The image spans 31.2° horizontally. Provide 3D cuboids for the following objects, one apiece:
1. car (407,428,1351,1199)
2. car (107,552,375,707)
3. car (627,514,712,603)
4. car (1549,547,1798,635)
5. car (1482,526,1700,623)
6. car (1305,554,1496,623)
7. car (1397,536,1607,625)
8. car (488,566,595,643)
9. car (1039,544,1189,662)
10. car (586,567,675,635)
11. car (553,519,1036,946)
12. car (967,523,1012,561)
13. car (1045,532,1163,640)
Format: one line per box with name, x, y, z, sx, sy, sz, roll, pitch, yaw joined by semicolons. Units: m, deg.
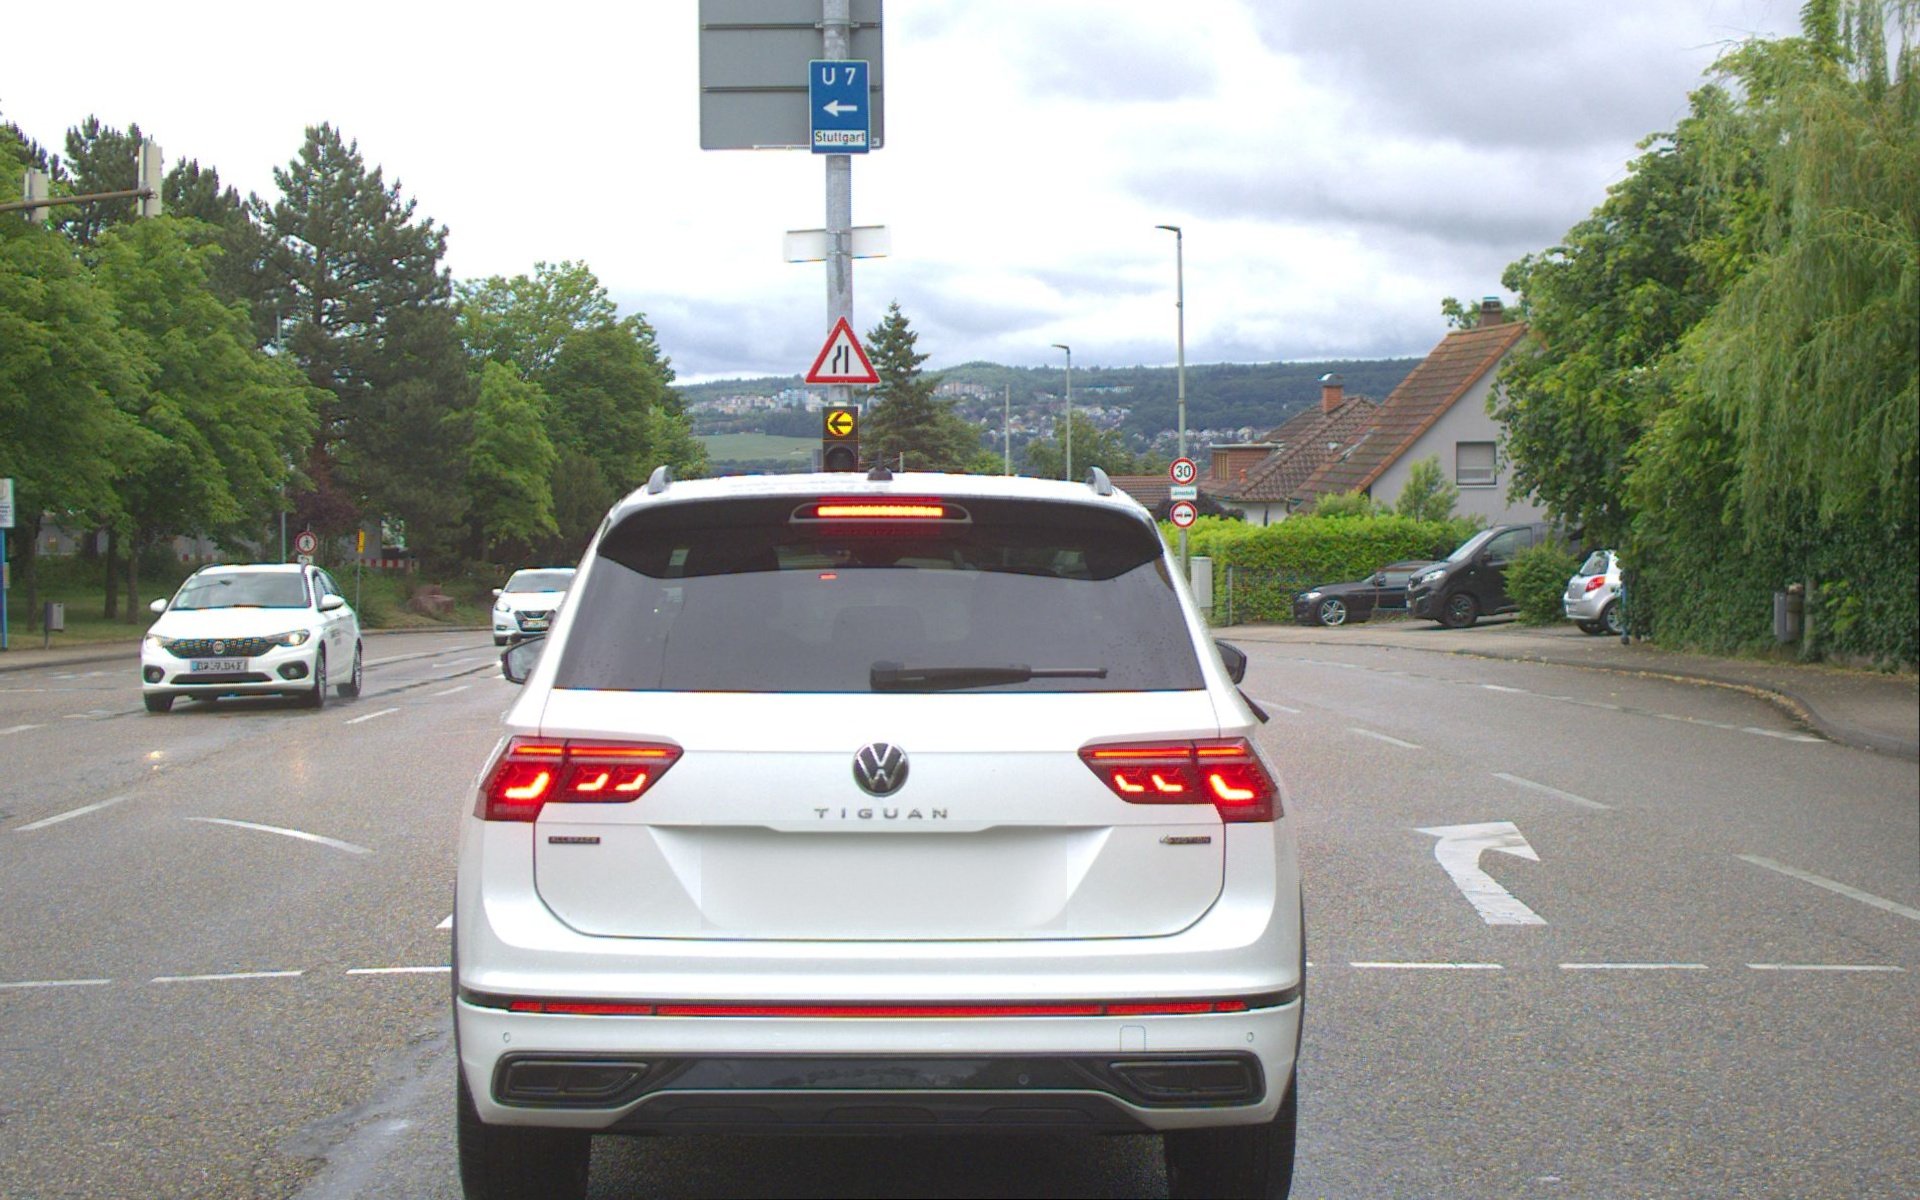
car;-0.207;0.500;8.708;1.763;1.690;4.273;2;1;-1
car;-7.473;0.260;36.127;1.967;1.449;4.309;-1;1;-1
car;-8.653;-1.269;102.827;2.297;2.519;5.774;-2;1;-3
car;11.973;-0.149;57.831;3.713;1.390;1.729;-1;0;-7
car;11.576;-0.487;63.190;3.627;1.740;1.708;0;2;-4
car;8.999;-0.229;70.398;3.687;1.365;1.519;0;-1;-2
car;10.325;-0.390;65.621;3.627;1.620;1.792;0;2;-4
car;-8.073;0.068;66.535;1.746;1.392;3.802;-1;1;-2
car;1.984;0.012;45.208;1.680;1.455;3.802;1;1;-2
car;-7.813;-0.010;81.821;1.775;1.497;4.472;-1;1;-1
car;-0.624;0.459;14.805;1.798;1.584;3.926;0;1;0
car;1.260;-2.477;147.075;1.850;1.569;4.000;-1;1;0
car;2.409;-0.263;58.380;1.712;1.752;3.802;-1;1;-2
